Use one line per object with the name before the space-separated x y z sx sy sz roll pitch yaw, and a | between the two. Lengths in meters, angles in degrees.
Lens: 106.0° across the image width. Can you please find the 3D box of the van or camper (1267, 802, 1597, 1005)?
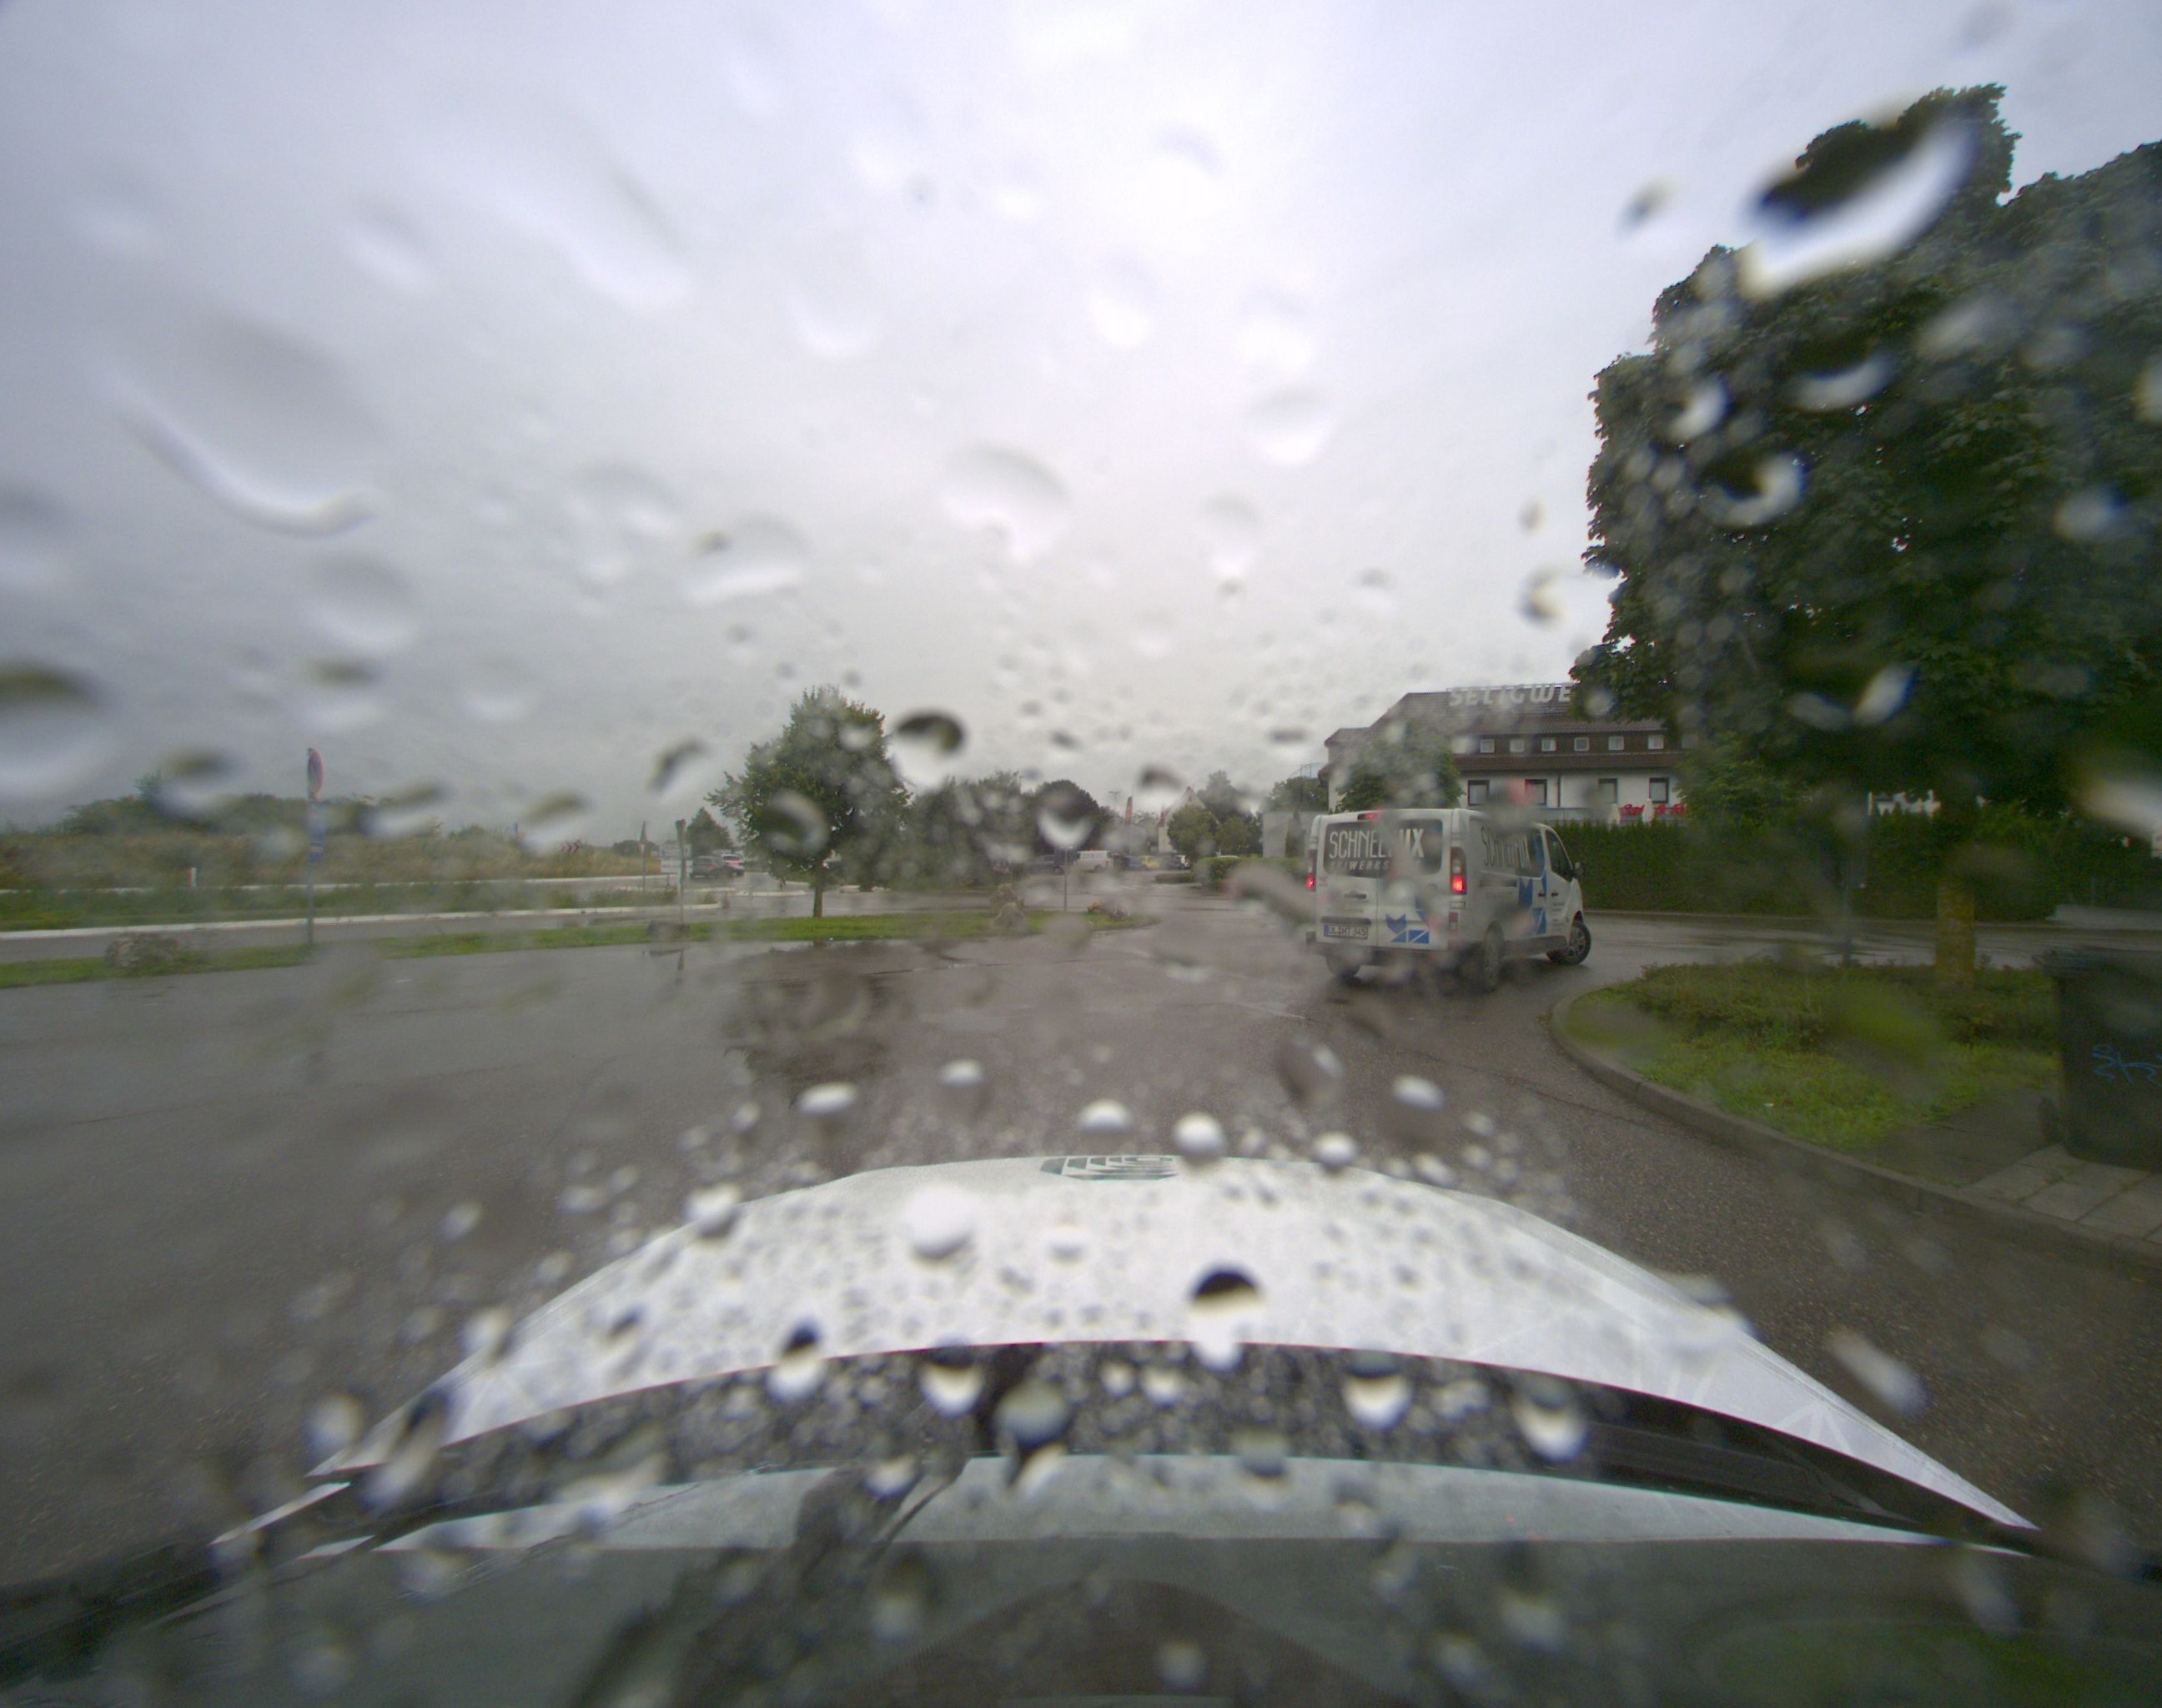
van or camper | 4.731 0.476 10.452 2.167 1.945 5.228 1 0 44

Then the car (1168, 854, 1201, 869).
car | 10.670 0.763 84.285 1.590 1.458 3.646 -1 0 -29

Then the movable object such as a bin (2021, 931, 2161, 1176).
movable object such as a bin | 4.590 0.831 3.535 0.447 0.938 0.488 -1 0 -2

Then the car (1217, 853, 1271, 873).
car | 13.132 0.703 65.593 4.143 1.497 1.725 -1 0 16

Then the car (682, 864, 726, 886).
car | -24.842 1.360 53.795 1.688 1.326 4.029 -1 0 -10

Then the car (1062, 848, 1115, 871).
car | 0.674 0.476 73.594 4.485 2.033 1.652 -1 0 17

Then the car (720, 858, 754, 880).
car | -26.648 1.129 63.262 1.690 1.584 4.366 -1 0 -13

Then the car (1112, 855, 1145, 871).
car | 4.636 0.891 80.270 1.560 1.458 3.646 -1 0 -29

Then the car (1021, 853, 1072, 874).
car | -2.684 0.749 64.150 3.703 1.551 1.457 -1 0 17

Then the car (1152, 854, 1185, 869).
car | 8.917 0.801 83.246 1.590 1.458 3.646 -1 0 -29

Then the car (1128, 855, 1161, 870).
car | 6.378 0.856 82.293 1.590 1.458 3.646 -1 0 -29

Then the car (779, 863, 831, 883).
car | -26.289 1.776 77.546 4.390 1.758 1.727 0 -1 -42
